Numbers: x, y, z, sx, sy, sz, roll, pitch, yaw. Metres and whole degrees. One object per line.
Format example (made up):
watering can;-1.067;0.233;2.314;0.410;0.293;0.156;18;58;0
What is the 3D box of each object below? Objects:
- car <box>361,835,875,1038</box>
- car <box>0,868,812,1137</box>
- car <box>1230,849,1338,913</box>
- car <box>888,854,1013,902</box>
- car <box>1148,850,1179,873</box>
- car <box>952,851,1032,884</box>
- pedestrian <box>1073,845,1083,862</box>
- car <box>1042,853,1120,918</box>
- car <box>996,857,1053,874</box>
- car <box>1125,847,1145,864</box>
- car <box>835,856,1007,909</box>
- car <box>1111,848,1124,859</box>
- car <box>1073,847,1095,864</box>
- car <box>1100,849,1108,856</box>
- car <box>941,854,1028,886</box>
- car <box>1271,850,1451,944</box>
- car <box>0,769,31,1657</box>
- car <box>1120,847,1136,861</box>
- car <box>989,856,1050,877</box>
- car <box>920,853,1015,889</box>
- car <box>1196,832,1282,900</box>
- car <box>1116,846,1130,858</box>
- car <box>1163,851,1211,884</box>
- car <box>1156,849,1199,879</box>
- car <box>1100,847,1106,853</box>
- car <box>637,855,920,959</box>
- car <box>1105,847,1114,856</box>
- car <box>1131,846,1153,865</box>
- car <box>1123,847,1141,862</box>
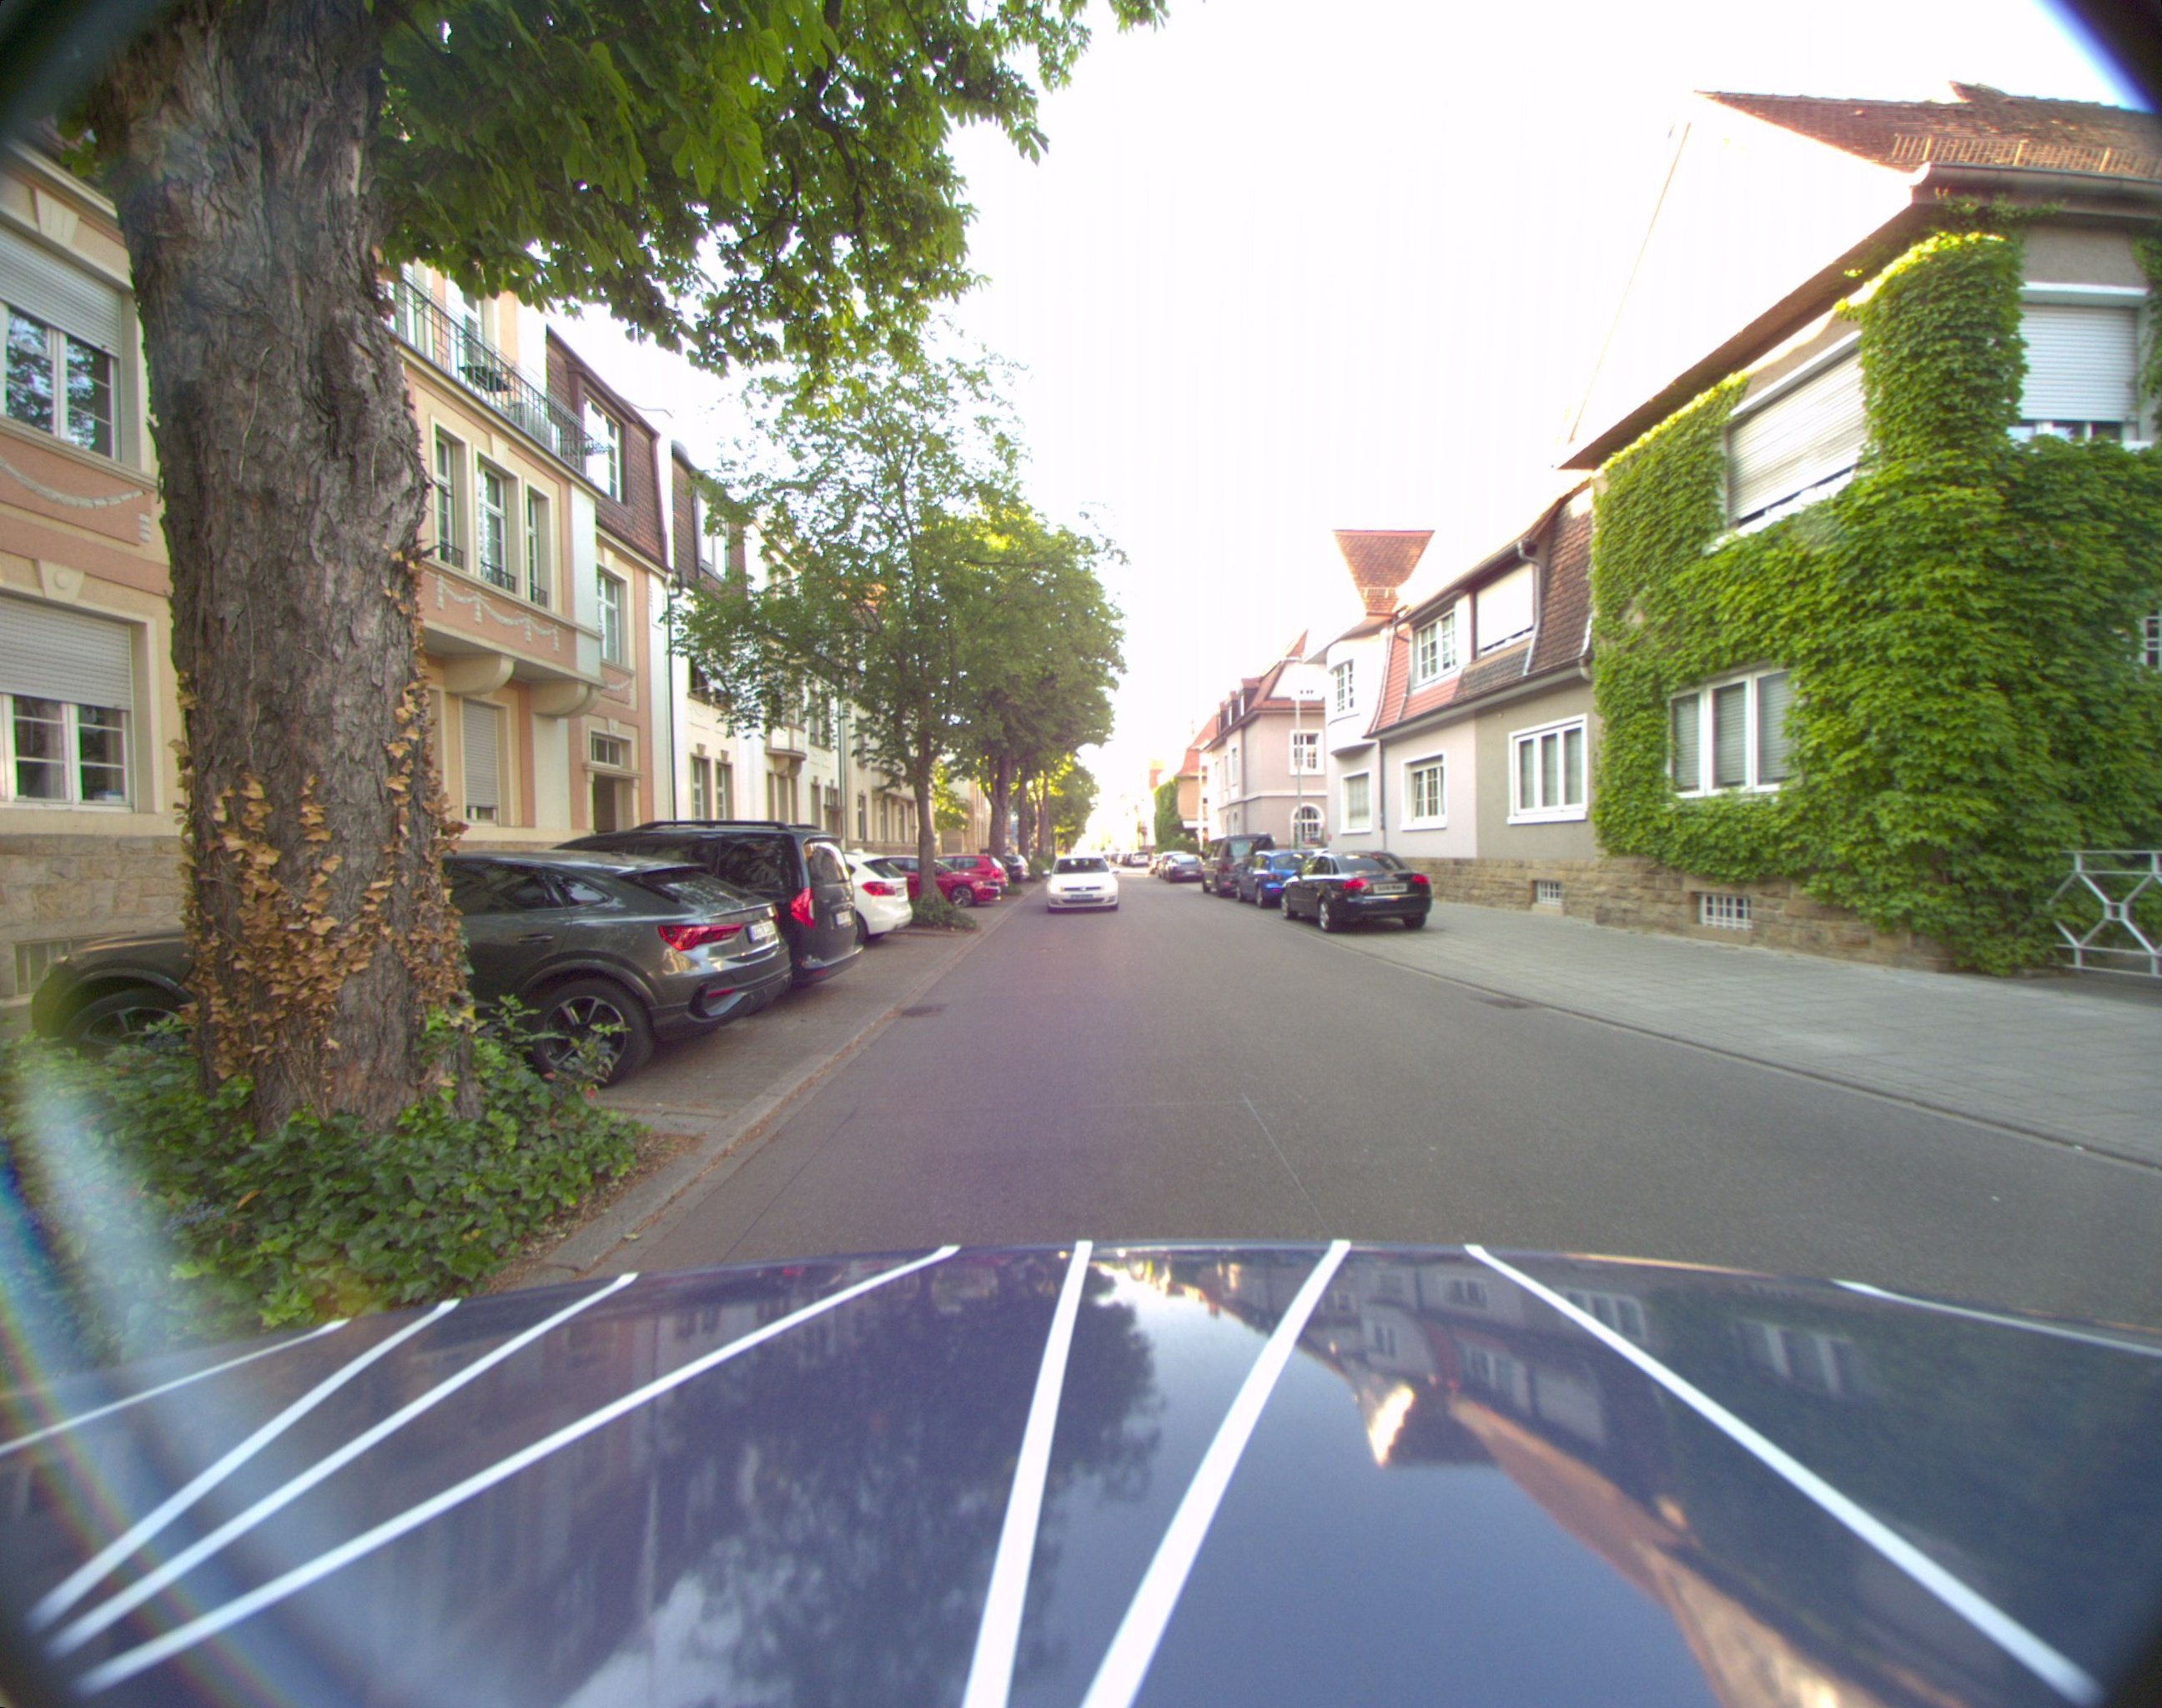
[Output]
car;-4.432;0.736;7.827;4.121;1.827;1.844;0;1;-2
car;-4.535;0.894;5.503;4.522;1.514;1.844;0;1;-4
car;5.285;0.643;20.338;1.768;1.438;4.062;-3;1;0
car;-4.135;0.748;24.462;3.680;1.473;1.659;0;1;3
car;5.444;0.467;50.379;1.662;1.354;3.677;-3;1;2
car;-4.277;0.619;36.835;3.680;1.548;1.576;0;1;2
pedestrian;-0.389;-0.098;88.931;1.119;1.927;1.097;-3;1;-1
car;0.034;0.760;20.260;1.819;1.454;4.072;-2;0;1
car;-3.511;0.718;47.638;3.399;1.057;1.542;0;1;2
car;5.340;0.111;75.267;1.699;1.520;3.677;-3;1;2
car;-4.529;0.797;21.934;4.530;1.443;1.867;0;1;3
car;5.557;-0.135;115.858;1.699;1.520;3.677;-3;1;2
car;0.288;0.131;67.950;1.819;1.454;4.072;-2;0;1
car;5.293;-0.282;173.285;1.699;1.520;3.677;-3;1;2
car;-4.310;0.710;34.322;3.680;1.390;1.576;0;1;2
car;5.139;0.695;14.652;1.806;1.438;4.428;-3;1;0
car;-4.589;0.769;0.517;4.763;1.864;1.896;0;1;-4
car;5.569;-0.056;91.005;1.699;1.520;3.677;-3;1;2
car;-3.560;0.725;44.432;3.399;1.143;1.542;0;1;2
car;-4.674;0.707;31.706;3.680;1.458;1.576;0;1;2
car;5.150;0.351;25.349;1.842;1.964;4.612;-3;1;0
car;5.551;-0.255;100.731;1.699;1.520;3.677;-3;1;2
car;5.066;0.591;36.663;1.932;1.376;4.063;-3;1;4
car;5.288;0.501;42.139;1.932;1.458;4.062;-3;1;2
car;5.851;-1.033;202.664;1.699;1.520;3.677;-3;1;2
car;-4.826;0.814;12.527;3.950;1.568;1.719;0;1;0
car;5.580;-0.488;149.115;1.699;1.520;3.677;-3;1;2
car;5.426;0.144;68.002;1.699;1.558;3.677;-3;1;2
car;5.441;0.052;80.759;1.699;1.520;3.677;-3;1;2
